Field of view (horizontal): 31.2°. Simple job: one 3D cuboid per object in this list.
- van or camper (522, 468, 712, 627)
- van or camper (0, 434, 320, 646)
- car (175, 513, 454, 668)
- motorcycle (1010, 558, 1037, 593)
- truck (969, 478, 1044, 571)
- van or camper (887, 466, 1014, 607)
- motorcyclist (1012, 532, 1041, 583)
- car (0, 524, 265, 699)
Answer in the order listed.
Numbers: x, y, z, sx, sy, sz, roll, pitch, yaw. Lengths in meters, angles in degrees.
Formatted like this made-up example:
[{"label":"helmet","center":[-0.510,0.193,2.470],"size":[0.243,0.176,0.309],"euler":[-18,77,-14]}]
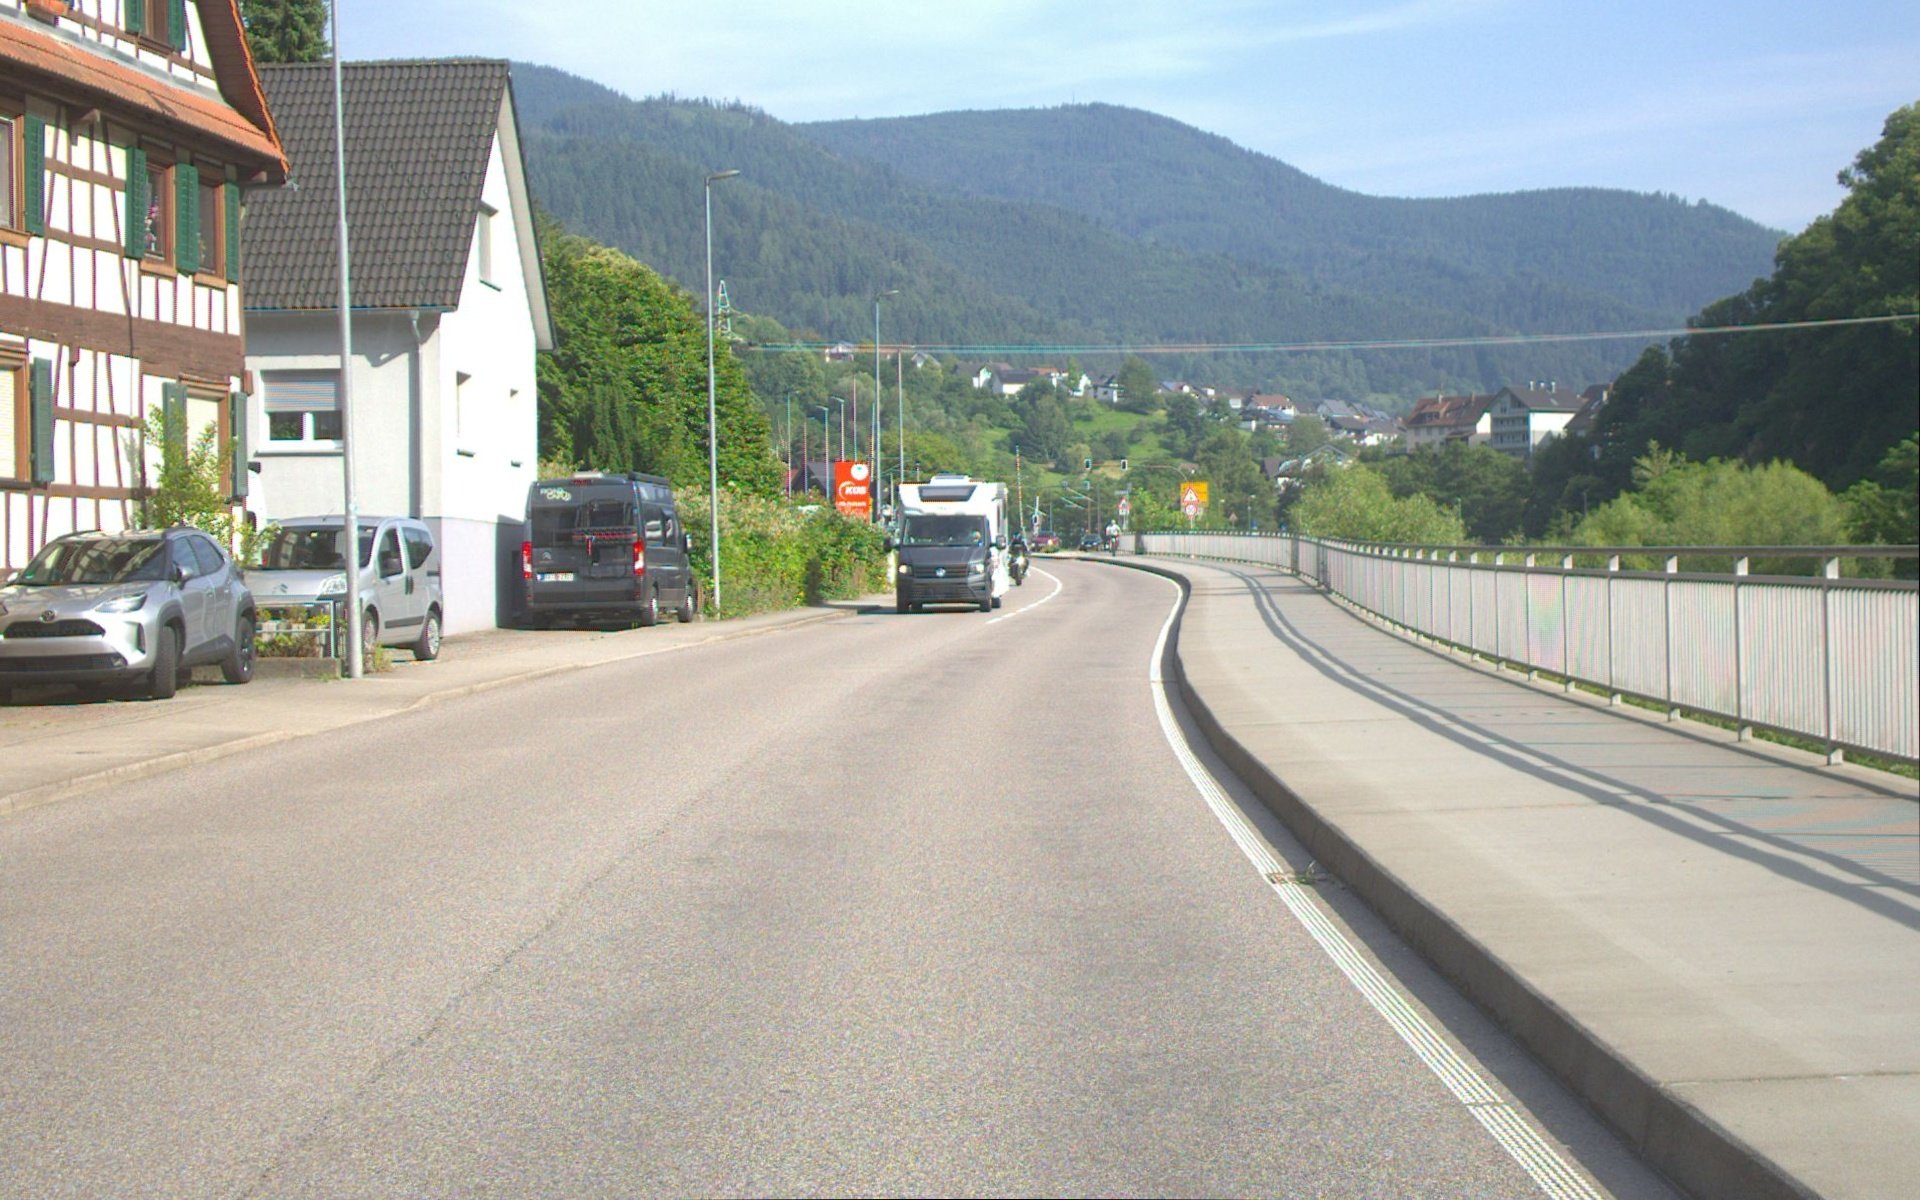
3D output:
[{"label":"van or camper","center":[-5.742,-0.889,58.354],"size":[2.148,2.546,5.900],"euler":[0,1,5]},{"label":"van or camper","center":[-11.280,-0.809,45.185],"size":[5.178,2.654,2.191],"euler":[1,1,11]},{"label":"car","center":[-7.290,-0.137,39.266],"size":[1.901,1.659,4.266],"euler":[0,1,7]},{"label":"motorcycle","center":[1.990,-0.770,107.383],"size":[0.654,1.064,2.181],"euler":[-1,1,6]},{"label":"truck","center":[2.036,-3.326,153.552],"size":[2.578,3.918,11.307],"euler":[-1,1,-3]},{"label":"van or camper","center":[-0.149,-1.411,75.751],"size":[2.195,2.928,7.126],"euler":[0,1,4]},{"label":"motorcyclist","center":[2.061,-1.323,107.051],"size":[0.826,1.553,0.628],"euler":[-1,0,8]},{"label":"car","center":[-8.024,0.065,32.459],"size":[1.884,1.514,4.094],"euler":[-2,1,3]}]
